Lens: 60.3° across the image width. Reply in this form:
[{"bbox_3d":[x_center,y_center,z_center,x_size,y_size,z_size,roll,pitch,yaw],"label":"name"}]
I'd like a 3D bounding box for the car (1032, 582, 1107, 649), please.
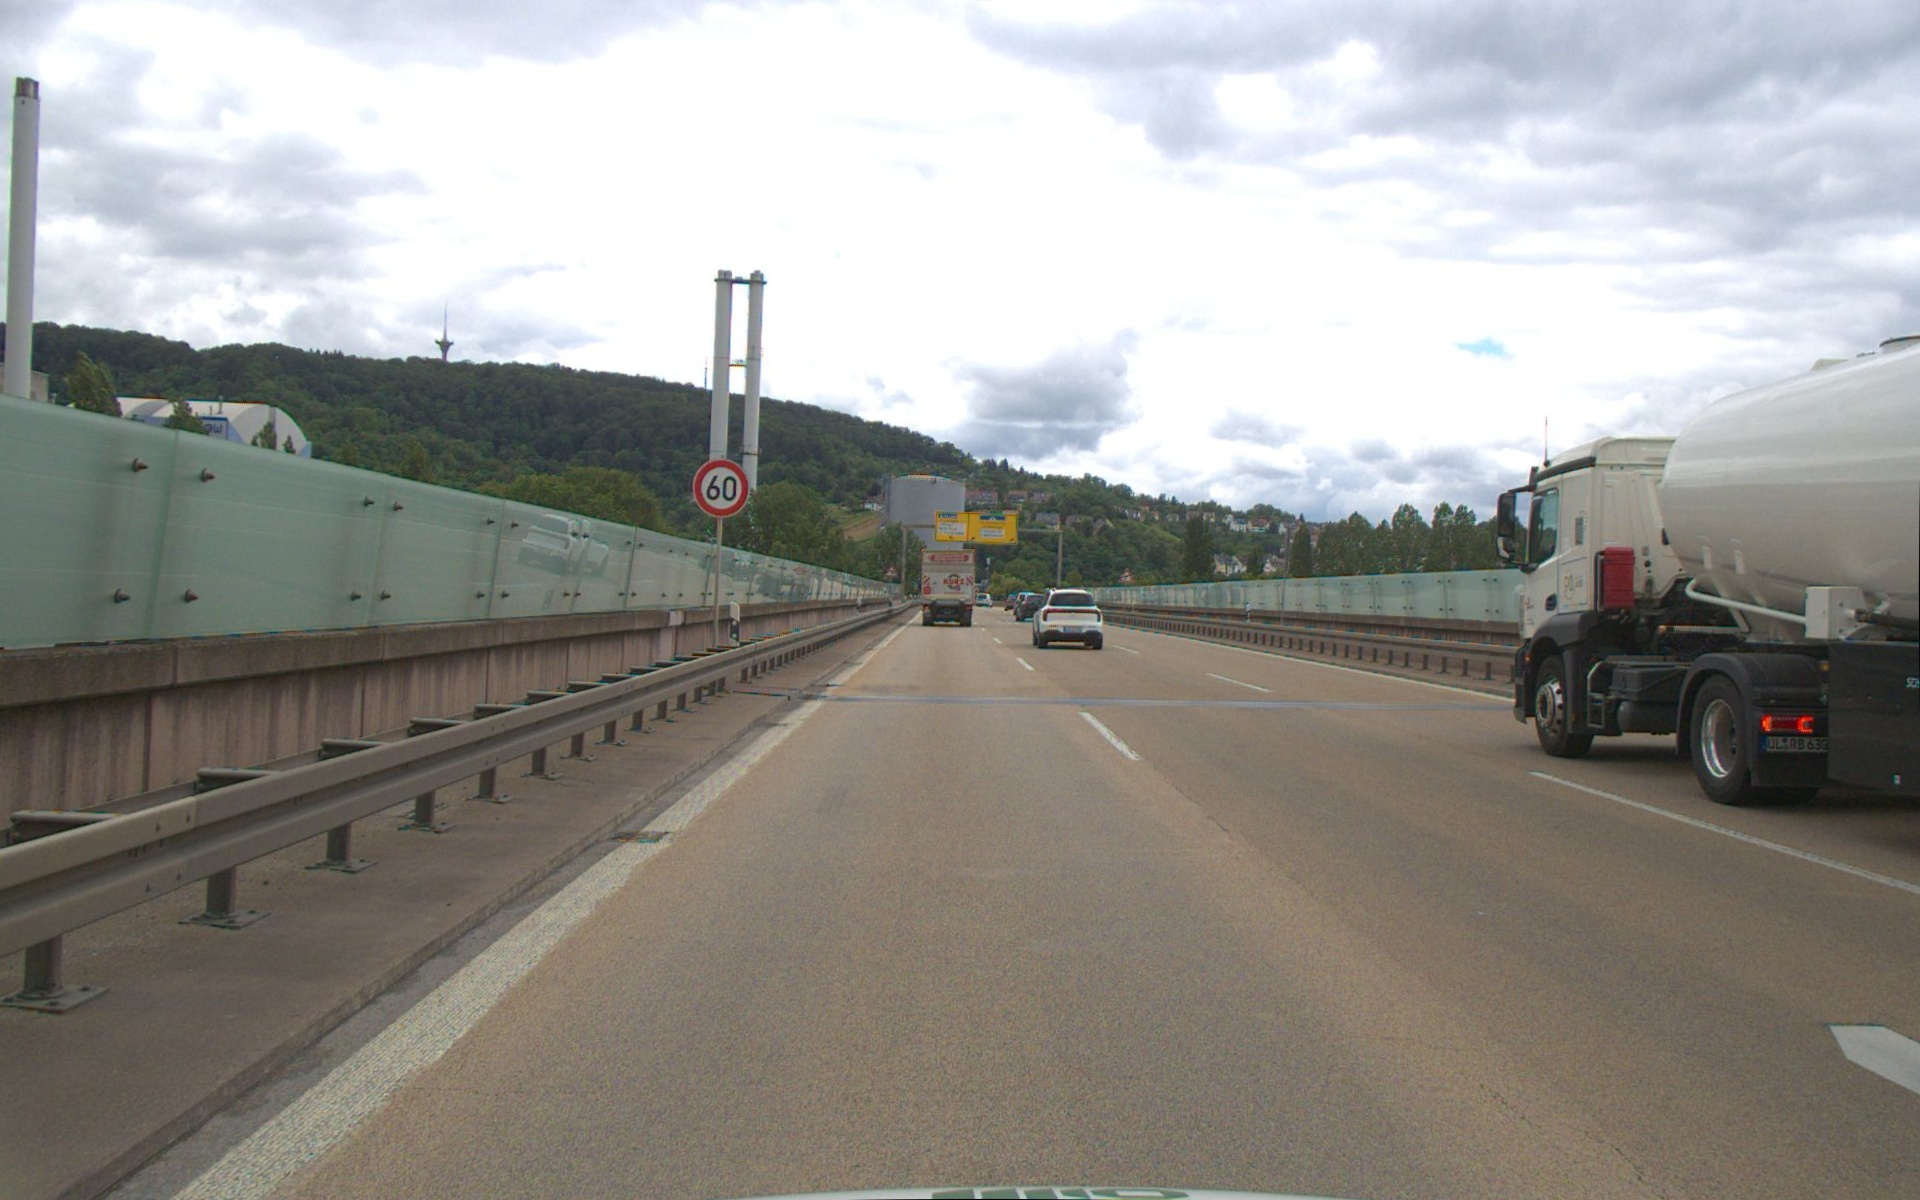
[{"bbox_3d":[3.129,0.414,48.116,1.884,1.816,4.113,1,0,0],"label":"car"}]

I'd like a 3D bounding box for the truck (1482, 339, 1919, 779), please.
[{"bbox_3d":[7.119,-0.338,15.972,2.577,3.575,4.903,1,0,0],"label":"truck"}]

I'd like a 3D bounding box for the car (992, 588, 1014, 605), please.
[{"bbox_3d":[3.971,-0.326,152.996,1.884,1.459,4.115,1,0,3],"label":"car"}]

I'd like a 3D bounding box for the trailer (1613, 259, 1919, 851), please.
[{"bbox_3d":[7.148,-0.264,9.131,2.596,3.605,11.219,1,0,0],"label":"trailer"}]

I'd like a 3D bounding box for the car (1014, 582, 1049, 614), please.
[{"bbox_3d":[4.293,-0.141,99.868,1.884,1.816,4.113,1,0,0],"label":"car"}]

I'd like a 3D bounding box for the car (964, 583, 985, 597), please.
[{"bbox_3d":[2.110,-1.452,239.523,2.420,2.014,5.164,1,0,8],"label":"car"}]

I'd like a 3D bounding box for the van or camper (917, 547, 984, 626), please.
[{"bbox_3d":[-0.381,-0.631,80.973,3.057,3.642,8.550,1,0,1],"label":"van or camper"}]
